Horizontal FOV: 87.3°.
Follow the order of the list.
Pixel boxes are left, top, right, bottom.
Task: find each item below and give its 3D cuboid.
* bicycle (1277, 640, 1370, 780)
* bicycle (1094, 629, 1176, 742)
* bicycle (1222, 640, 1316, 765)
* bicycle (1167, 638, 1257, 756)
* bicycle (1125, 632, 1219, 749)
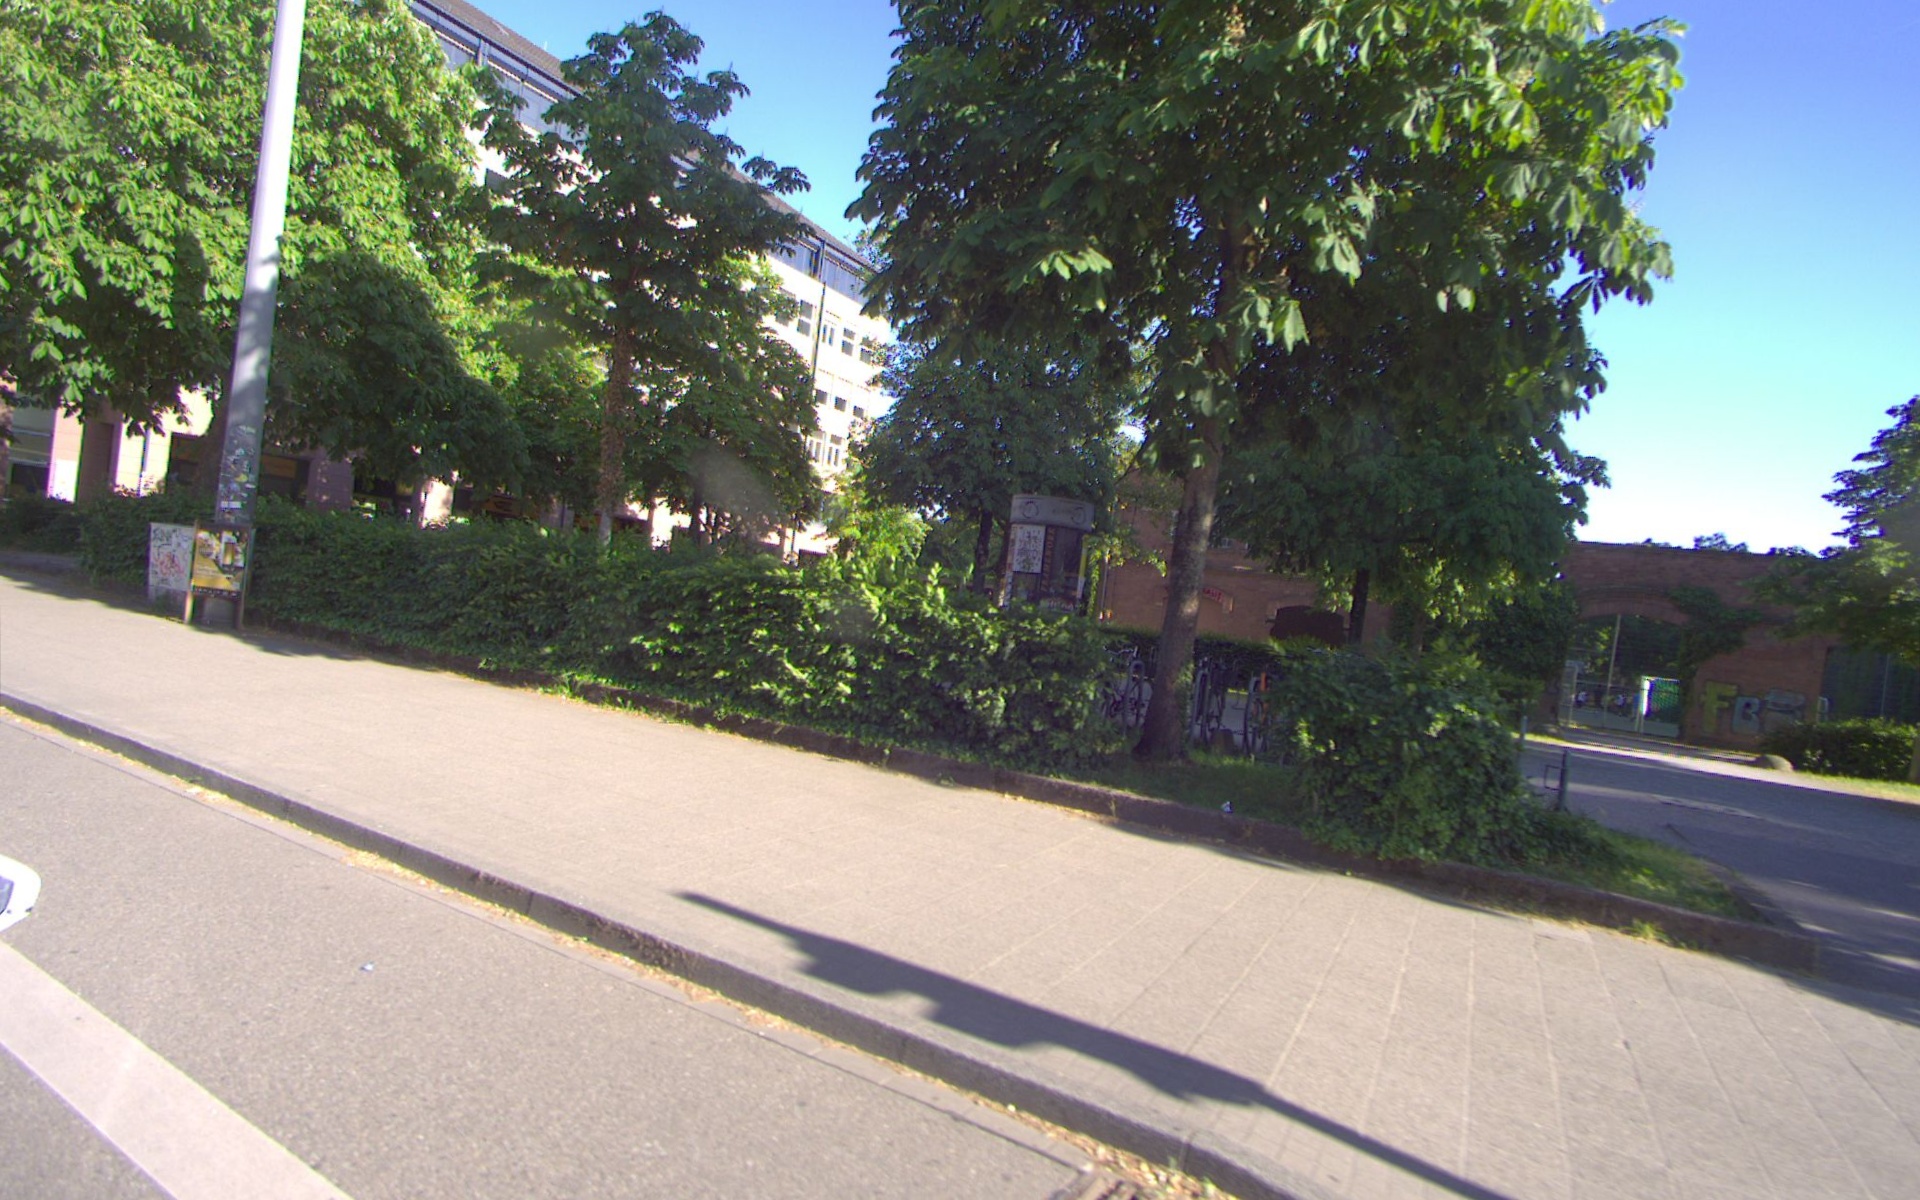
[{"bbox_3d":[3.927,1.150,10.792,0.365,1.351,1.653,9,3,34],"label":"bicycle"},{"bbox_3d":[2.151,1.006,12.207,0.376,1.244,1.681,6,1,27],"label":"bicycle"},{"bbox_3d":[3.461,1.112,11.175,0.365,1.256,1.754,7,1,34],"label":"bicycle"},{"bbox_3d":[2.963,1.106,11.751,0.365,1.256,1.621,7,1,34],"label":"bicycle"},{"bbox_3d":[2.528,1.047,11.859,0.365,1.256,1.675,7,1,34],"label":"bicycle"}]
